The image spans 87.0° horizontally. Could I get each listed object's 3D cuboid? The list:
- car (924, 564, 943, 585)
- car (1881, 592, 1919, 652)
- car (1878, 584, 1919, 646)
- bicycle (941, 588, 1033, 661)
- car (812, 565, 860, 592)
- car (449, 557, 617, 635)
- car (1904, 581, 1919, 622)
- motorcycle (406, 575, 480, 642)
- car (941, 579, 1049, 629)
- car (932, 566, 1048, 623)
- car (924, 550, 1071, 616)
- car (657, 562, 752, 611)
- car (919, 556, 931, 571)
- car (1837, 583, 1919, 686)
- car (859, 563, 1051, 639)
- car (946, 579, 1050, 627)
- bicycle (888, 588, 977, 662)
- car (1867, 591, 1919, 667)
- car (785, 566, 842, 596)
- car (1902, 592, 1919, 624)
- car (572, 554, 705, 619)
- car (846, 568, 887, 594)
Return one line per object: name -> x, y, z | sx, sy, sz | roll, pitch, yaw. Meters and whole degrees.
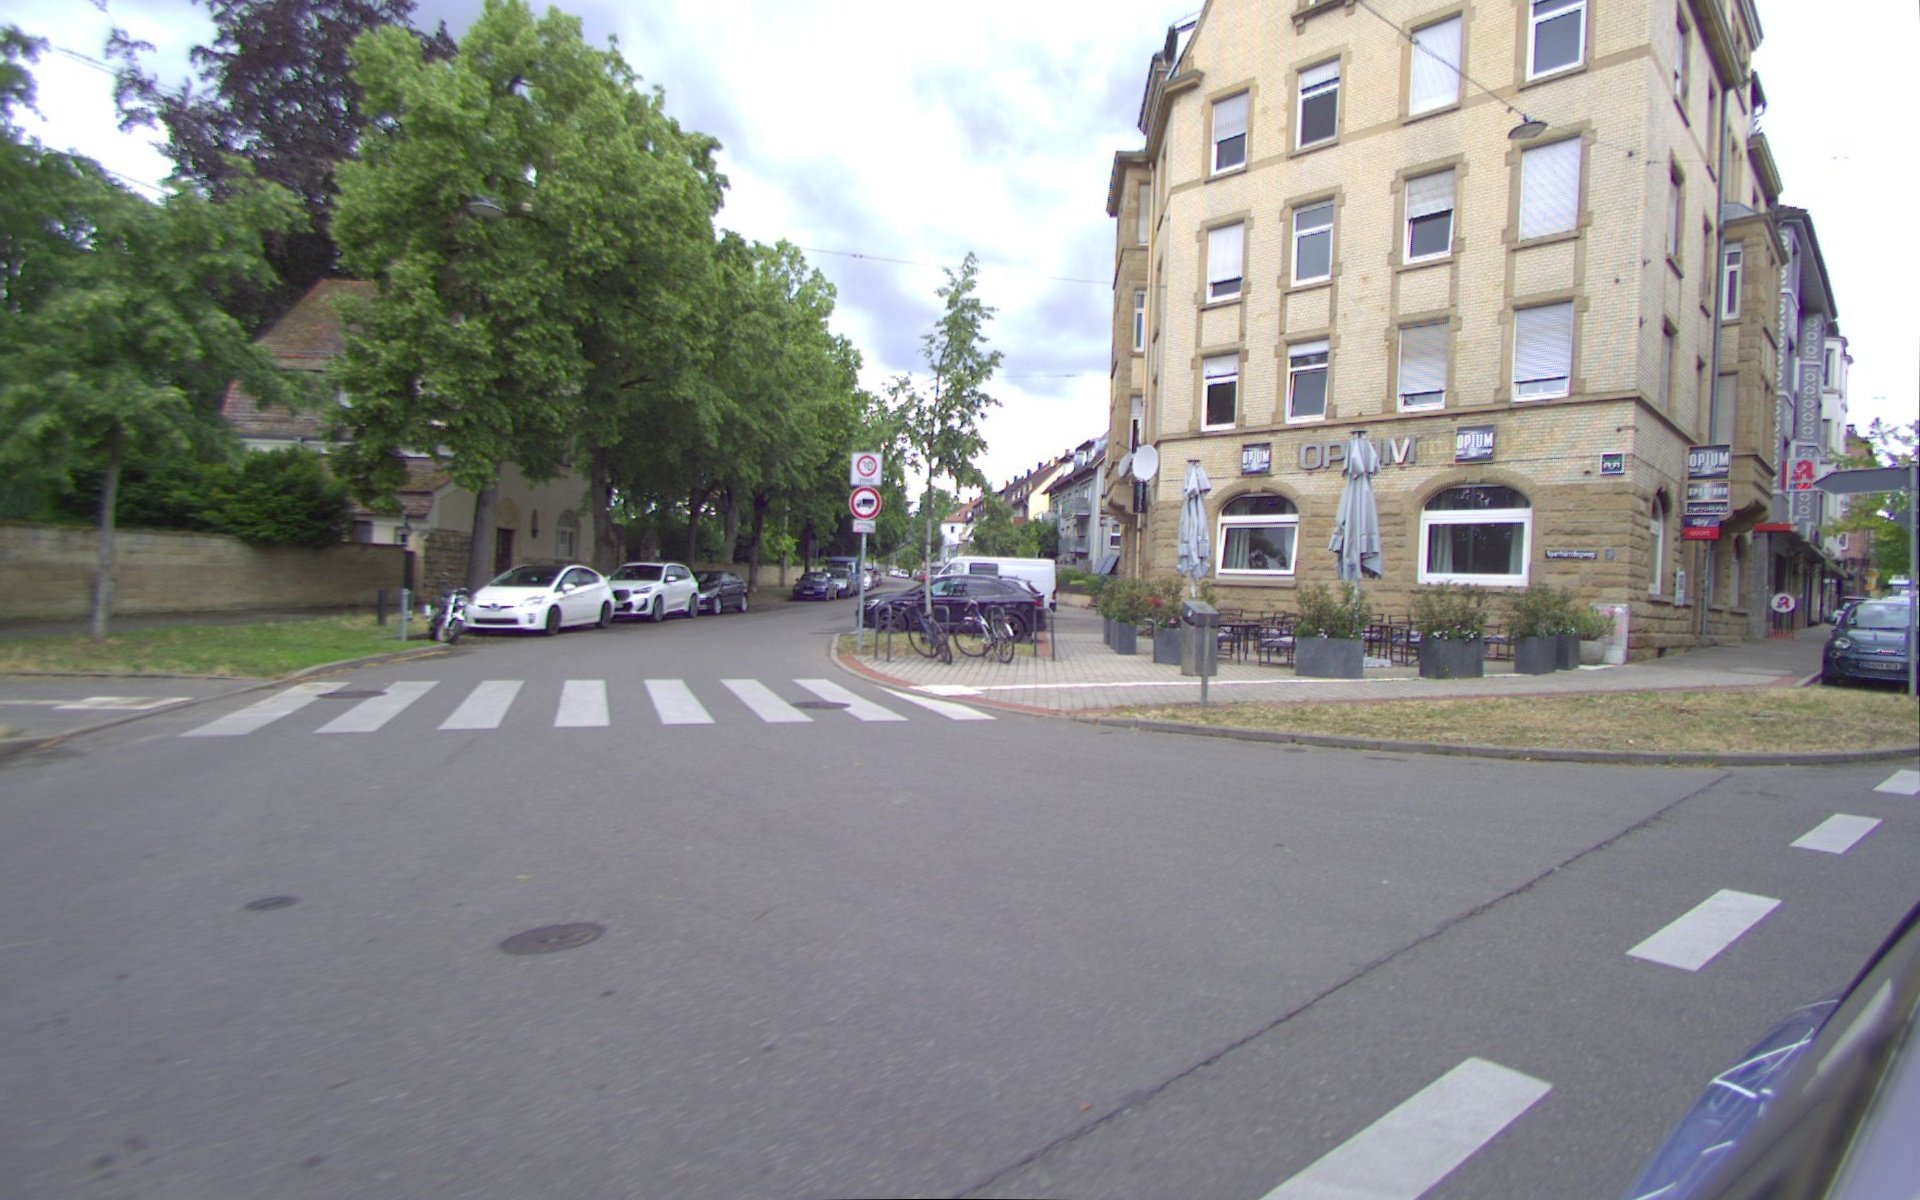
car -> -2.679, -2.615, 103.719 | 1.685, 2.039, 3.997 | -1, 0, 3
car -> 25.170, 0.556, 26.355 | 1.606, 1.414, 4.209 | 4, 3, 43
car -> 28.255, 0.420, 29.779 | 1.678, 1.683, 4.476 | 4, 3, 41
bicycle -> 0.421, 0.380, 17.242 | 0.589, 1.079, 2.191 | 0, 2, -27
car -> -6.716, -1.199, 55.181 | 1.963, 1.416, 4.128 | 1, 2, 1
car -> -9.276, -0.137, 22.402 | 1.779, 1.517, 4.277 | 1, 2, 2
car -> 49.156, 0.094, 51.118 | 1.905, 1.954, 4.847 | 3, 2, 41
motorcycle -> -9.591, 0.156, 18.747 | 1.991, 1.184, 0.552 | -1, 0, 42
car -> 1.046, 0.110, 31.013 | 3.115, 1.419, 1.474 | -1, 0, -4
car -> 0.799, -0.146, 28.327 | 3.098, 1.555, 1.550 | 0, 0, -2
car -> 1.441, -0.669, 38.500 | 5.401, 2.320, 1.998 | 1, 1, 6
car -> -8.195, -0.476, 32.849 | 1.765, 1.454, 4.370 | 1, 2, 3
car -> -5.400, -5.645, 157.003 | 1.781, 2.039, 4.001 | -1, 0, -1
car -> 16.563, 0.556, 17.720 | 1.566, 1.630, 3.595 | 3, 2, 45
car -> -0.141, -0.008, 23.664 | 4.288, 1.616, 2.001 | 1, 1, -1
car -> 1.195, 0.078, 32.730 | 3.231, 1.455, 1.550 | -1, 0, -2
bicycle -> -0.492, 0.376, 16.800 | 0.589, 1.079, 2.191 | 0, 2, -27
car -> 20.818, 0.593, 21.859 | 1.738, 1.481, 4.702 | 4, 3, 42
car -> -7.173, -0.970, 49.969 | 1.964, 1.372, 4.239 | 1, 2, 3
car -> 44.987, 0.396, 47.004 | 1.684, 1.433, 3.977 | 4, 3, 44
car -> -8.782, -0.409, 28.049 | 1.965, 1.616, 4.367 | 1, 2, 5
car -> -6.013, -1.243, 65.656 | 1.964, 1.616, 4.370 | 1, 2, 3
